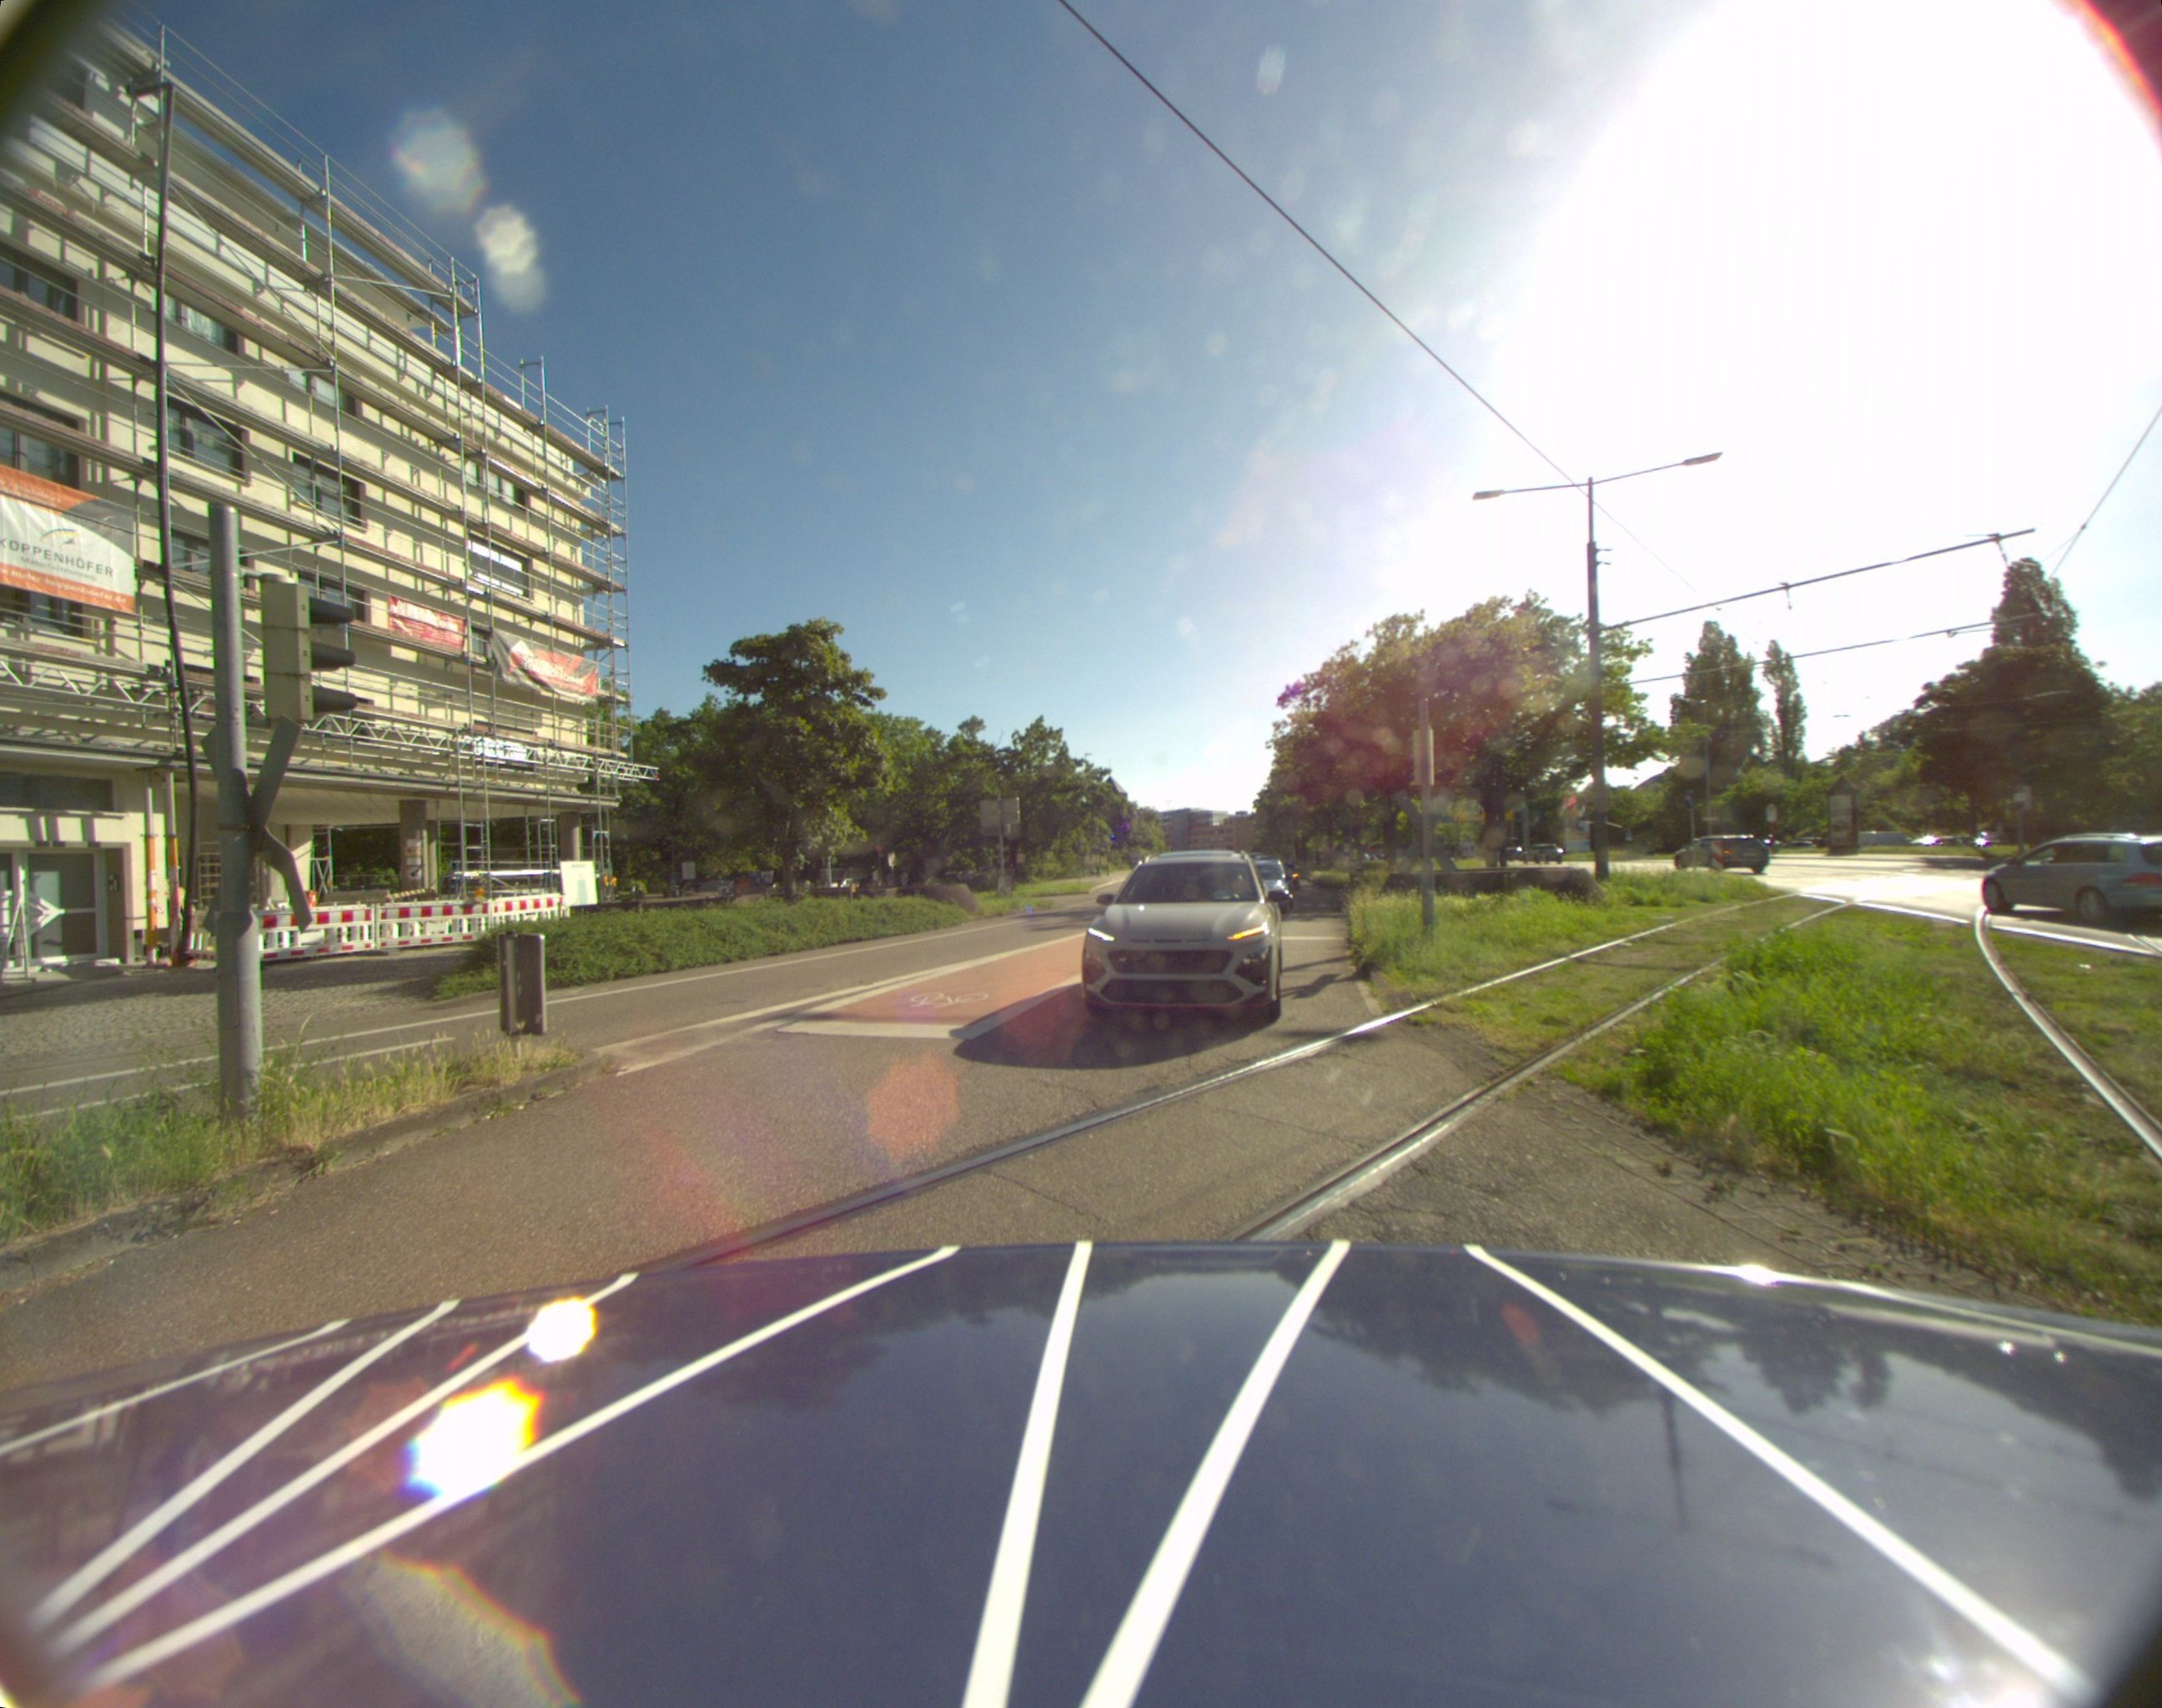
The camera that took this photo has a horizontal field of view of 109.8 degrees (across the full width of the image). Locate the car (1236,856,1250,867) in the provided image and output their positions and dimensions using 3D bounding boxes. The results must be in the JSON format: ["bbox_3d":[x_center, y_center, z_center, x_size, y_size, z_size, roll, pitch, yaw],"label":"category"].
[{"bbox_3d":[23.723,1.031,111.073,1.827,1.464,4.004,-2,0,15],"label":"car"}]

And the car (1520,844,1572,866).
[{"bbox_3d":[36.490,0.084,59.704,1.997,1.553,4.390,-2,0,11],"label":"car"}]

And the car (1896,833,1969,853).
[{"bbox_3d":[63.486,-0.804,56.685,4.002,1.274,1.998,-2,0,-15],"label":"car"}]

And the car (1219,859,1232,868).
[{"bbox_3d":[24.799,1.625,130.404,1.997,1.523,4.004,-1,0,11],"label":"car"}]

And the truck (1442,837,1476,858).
[{"bbox_3d":[46.480,-0.737,93.529,1.793,2.412,4.108,-2,0,-4],"label":"truck"}]

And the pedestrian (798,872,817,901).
[{"bbox_3d":[-14.922,1.773,41.465,0.651,1.488,0.909,-2,0,3],"label":"pedestrian"}]

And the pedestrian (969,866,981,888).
[{"bbox_3d":[-7.164,1.550,51.241,0.528,1.509,0.614,-2,0,14],"label":"pedestrian"}]

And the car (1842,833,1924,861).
[{"bbox_3d":[63.220,-0.566,59.916,5.002,2.002,2.237,-2,0,-14],"label":"car"}]

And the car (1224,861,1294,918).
[{"bbox_3d":[5.355,0.980,22.515,1.708,1.455,4.005,-2,0,17],"label":"car"}]

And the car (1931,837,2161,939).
[{"bbox_3d":[17.529,0.485,13.246,1.730,1.433,4.891,-4,-1,24],"label":"car"}]

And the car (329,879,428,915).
[{"bbox_3d":[-46.287,2.785,50.172,1.996,2.061,4.356,-2,0,14],"label":"car"}]

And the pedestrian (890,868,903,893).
[{"bbox_3d":[-12.207,1.745,50.211,0.598,1.610,0.567,-3,1,6],"label":"pedestrian"}]

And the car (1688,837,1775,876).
[{"bbox_3d":[29.189,0.093,34.262,1.754,1.604,4.731,-2,0,25],"label":"car"}]

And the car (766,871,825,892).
[{"bbox_3d":[-20.601,1.978,54.874,3.584,1.307,1.624,-2,2,6],"label":"car"}]

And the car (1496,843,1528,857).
[{"bbox_3d":[44.778,-0.403,79.034,1.666,1.440,4.406,-2,0,12],"label":"car"}]

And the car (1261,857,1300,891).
[{"bbox_3d":[9.711,0.921,36.736,1.676,1.499,3.953,-2,0,16],"label":"car"}]

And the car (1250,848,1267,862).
[{"bbox_3d":[21.954,0.102,93.733,1.743,1.539,4.005,-3,-1,16],"label":"car"}]

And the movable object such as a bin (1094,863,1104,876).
[{"bbox_3d":[1.546,1.326,64.229,0.728,1.024,0.578,-2,0,11],"label":"movable object such as a bin"}]

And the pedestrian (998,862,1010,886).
[{"bbox_3d":[-5.281,1.371,52.358,0.623,1.625,0.552,-2,0,12],"label":"pedestrian"}]

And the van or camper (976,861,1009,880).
[{"bbox_3d":[-9.830,1.798,84.816,2.455,1.901,5.330,-2,0,7],"label":"van or camper"}]

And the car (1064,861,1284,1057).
[{"bbox_3d":[1.257,0.897,8.286,1.778,1.542,3.984,-2,0,15],"label":"car"}]

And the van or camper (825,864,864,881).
[{"bbox_3d":[-28.197,2.175,90.764,2.455,1.901,5.330,-2,0,7],"label":"van or camper"}]

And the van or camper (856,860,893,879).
[{"bbox_3d":[-24.463,1.844,90.388,2.456,2.146,5.330,-2,0,6],"label":"van or camper"}]

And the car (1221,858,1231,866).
[{"bbox_3d":[29.651,1.573,155.487,1.997,1.523,4.004,-1,0,11],"label":"car"}]

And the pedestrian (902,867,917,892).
[{"bbox_3d":[-11.317,1.692,50.121,0.704,1.610,0.567,-3,1,6],"label":"pedestrian"}]

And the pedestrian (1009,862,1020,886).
[{"bbox_3d":[-4.621,1.393,52.695,0.603,1.690,0.410,-2,0,11],"label":"pedestrian"}]

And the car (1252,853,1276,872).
[{"bbox_3d":[14.780,0.675,61.141,1.780,1.397,4.004,-2,0,14],"label":"car"}]
